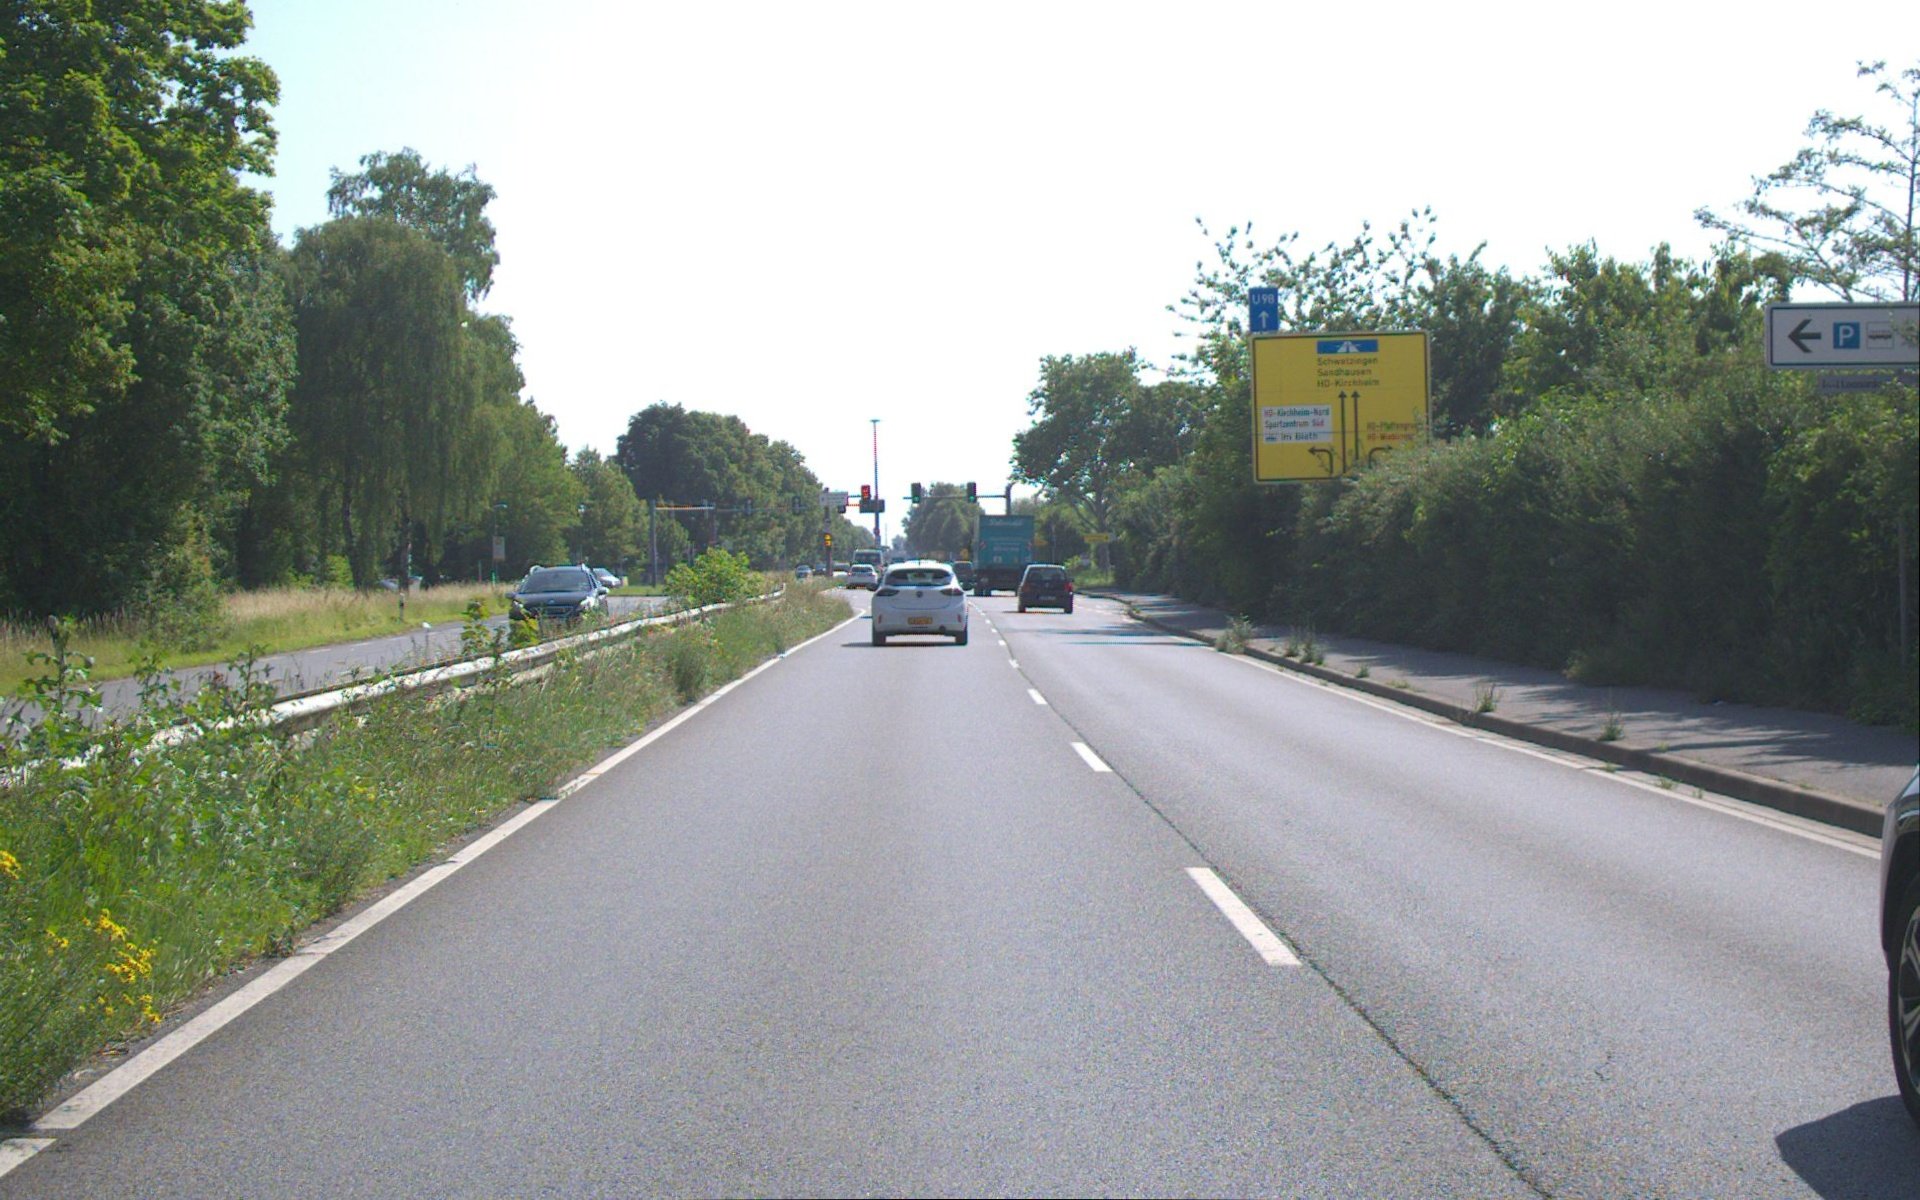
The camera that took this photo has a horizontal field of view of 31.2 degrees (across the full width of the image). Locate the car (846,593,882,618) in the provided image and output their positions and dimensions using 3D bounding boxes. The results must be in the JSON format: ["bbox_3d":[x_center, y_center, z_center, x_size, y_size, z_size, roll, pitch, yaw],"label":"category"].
[{"bbox_3d":[-5.746,0.356,205.723,1.812,1.459,4.970,-1,0,2],"label":"car"}]

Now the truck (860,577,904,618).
[{"bbox_3d":[-4.797,-0.178,212.971,2.374,2.380,6.041,0,2,2],"label":"truck"}]

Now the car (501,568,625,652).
[{"bbox_3d":[-7.664,0.178,66.689,1.779,1.525,4.161,-2,0,2],"label":"car"}]

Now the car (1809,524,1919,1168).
[{"bbox_3d":[3.474,0.658,7.689,1.902,1.674,4.683,1,0,-1],"label":"car"}]

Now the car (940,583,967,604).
[{"bbox_3d":[-0.483,-0.452,249.453,1.812,1.459,4.459,-1,0,2],"label":"car"}]

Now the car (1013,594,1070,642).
[{"bbox_3d":[2.419,0.545,102.651,1.572,1.410,3.277,0,-1,0],"label":"car"}]

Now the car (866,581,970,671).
[{"bbox_3d":[-0.722,0.440,61.847,1.798,1.547,4.000,0,1,0],"label":"car"}]

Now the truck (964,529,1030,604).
[{"bbox_3d":[1.717,-1.562,162.950,2.891,3.417,9.169,-1,0,-1],"label":"truck"}]

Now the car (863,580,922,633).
[{"bbox_3d":[-1.859,0.178,95.716,1.572,1.410,3.277,-1,0,-1],"label":"car"}]
